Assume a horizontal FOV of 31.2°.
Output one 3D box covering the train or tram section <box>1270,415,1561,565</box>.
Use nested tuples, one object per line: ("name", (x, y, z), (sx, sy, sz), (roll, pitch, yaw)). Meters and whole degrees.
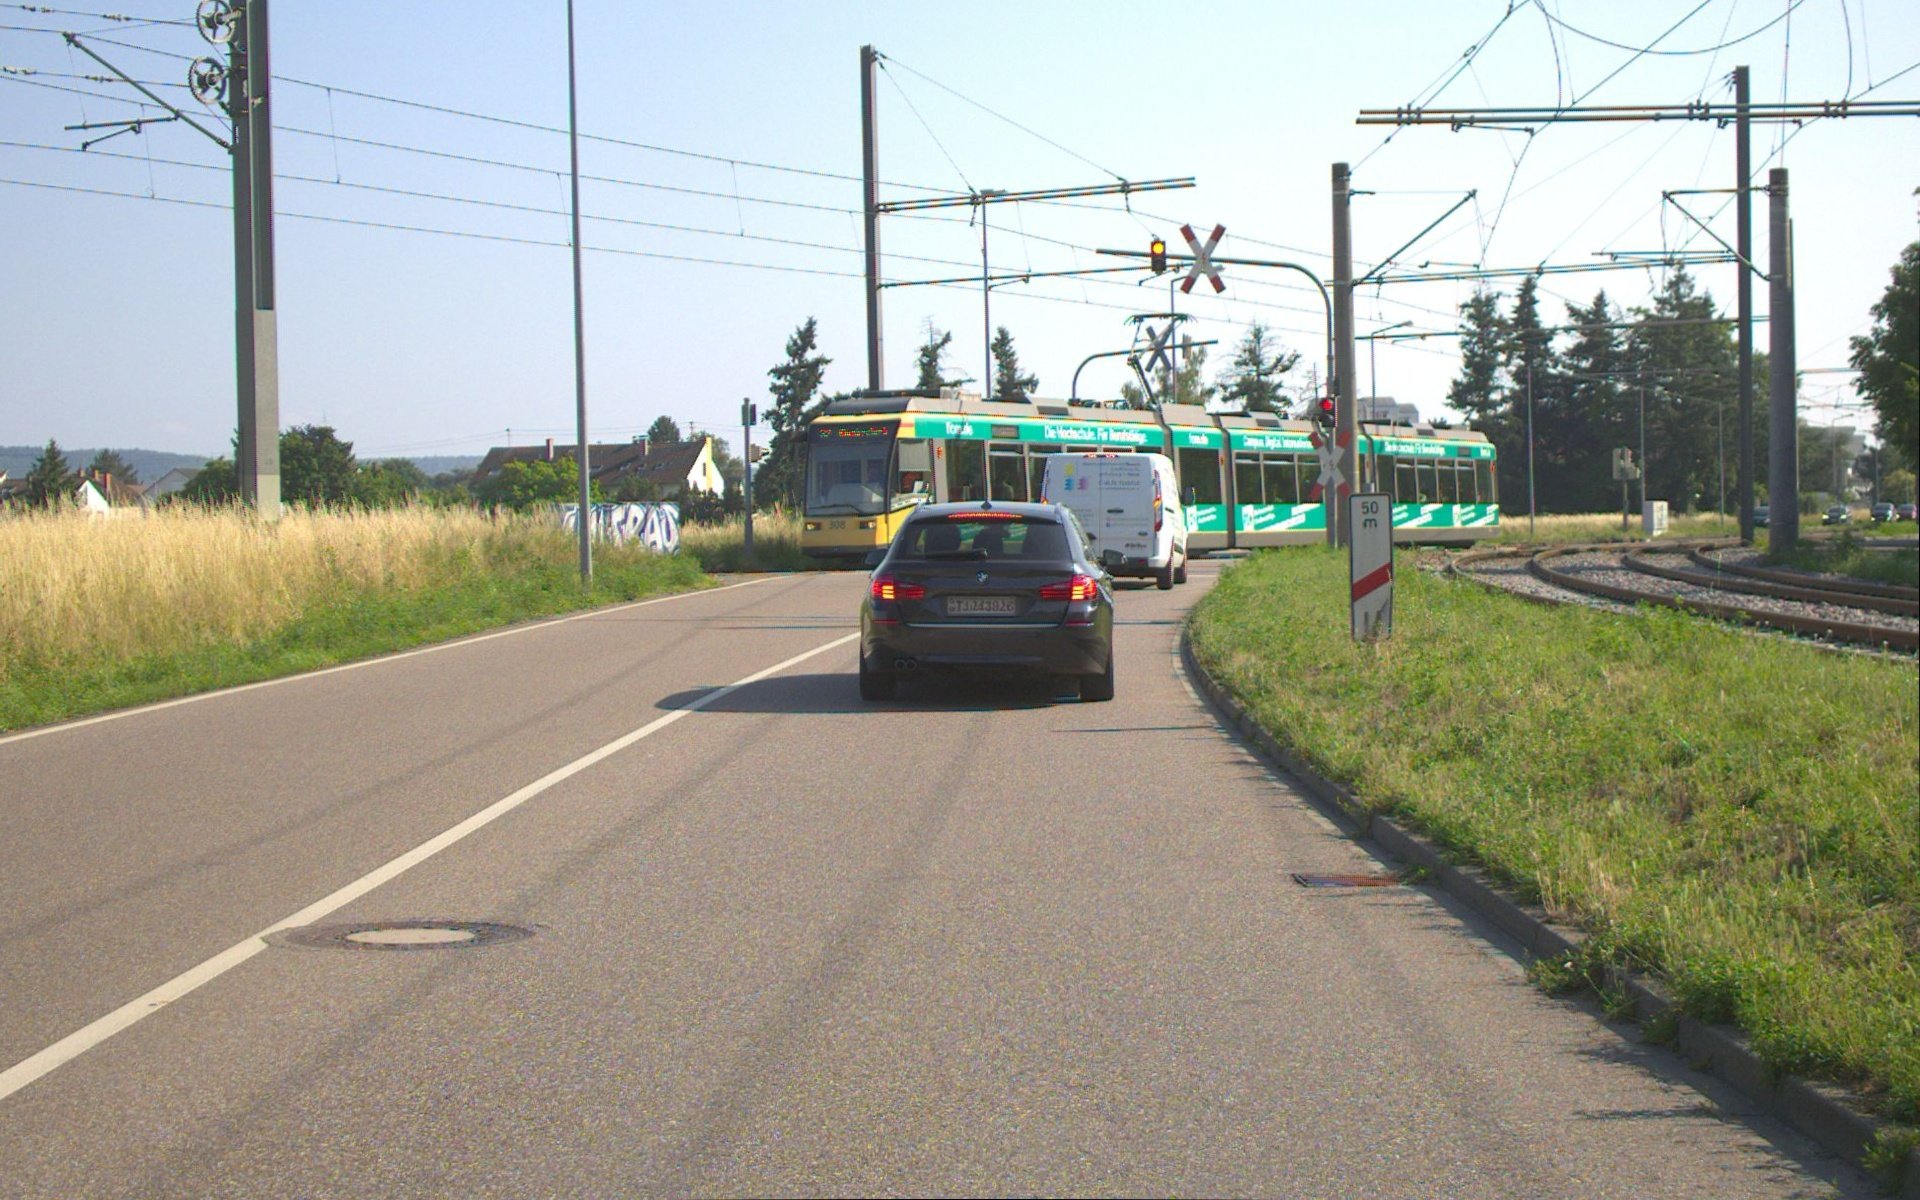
("train or tram section", (12.517, -2.841, 92.674), (2.911, 3.556, 14.238), (1, 0, 28))

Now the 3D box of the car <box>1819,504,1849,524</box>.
("car", (64.246, -6.298, 252.769), (1.695, 1.434, 4.279), (1, 2, 20))

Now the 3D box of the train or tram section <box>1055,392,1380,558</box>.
("train or tram section", (6.293, -2.824, 81.039), (2.922, 3.442, 12.146), (1, 0, 28))

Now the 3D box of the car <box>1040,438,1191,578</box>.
("car", (2.381, -1.389, 51.618), (1.858, 1.981, 5.107), (0, 2, 7))

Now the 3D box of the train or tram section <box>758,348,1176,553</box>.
("train or tram section", (0.427, -2.894, 70.317), (2.955, 3.473, 12.145), (1, 0, 29))

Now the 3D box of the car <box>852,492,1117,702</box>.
("car", (0.210, -0.094, 26.606), (1.869, 1.447, 4.744), (0, 2, 1))
